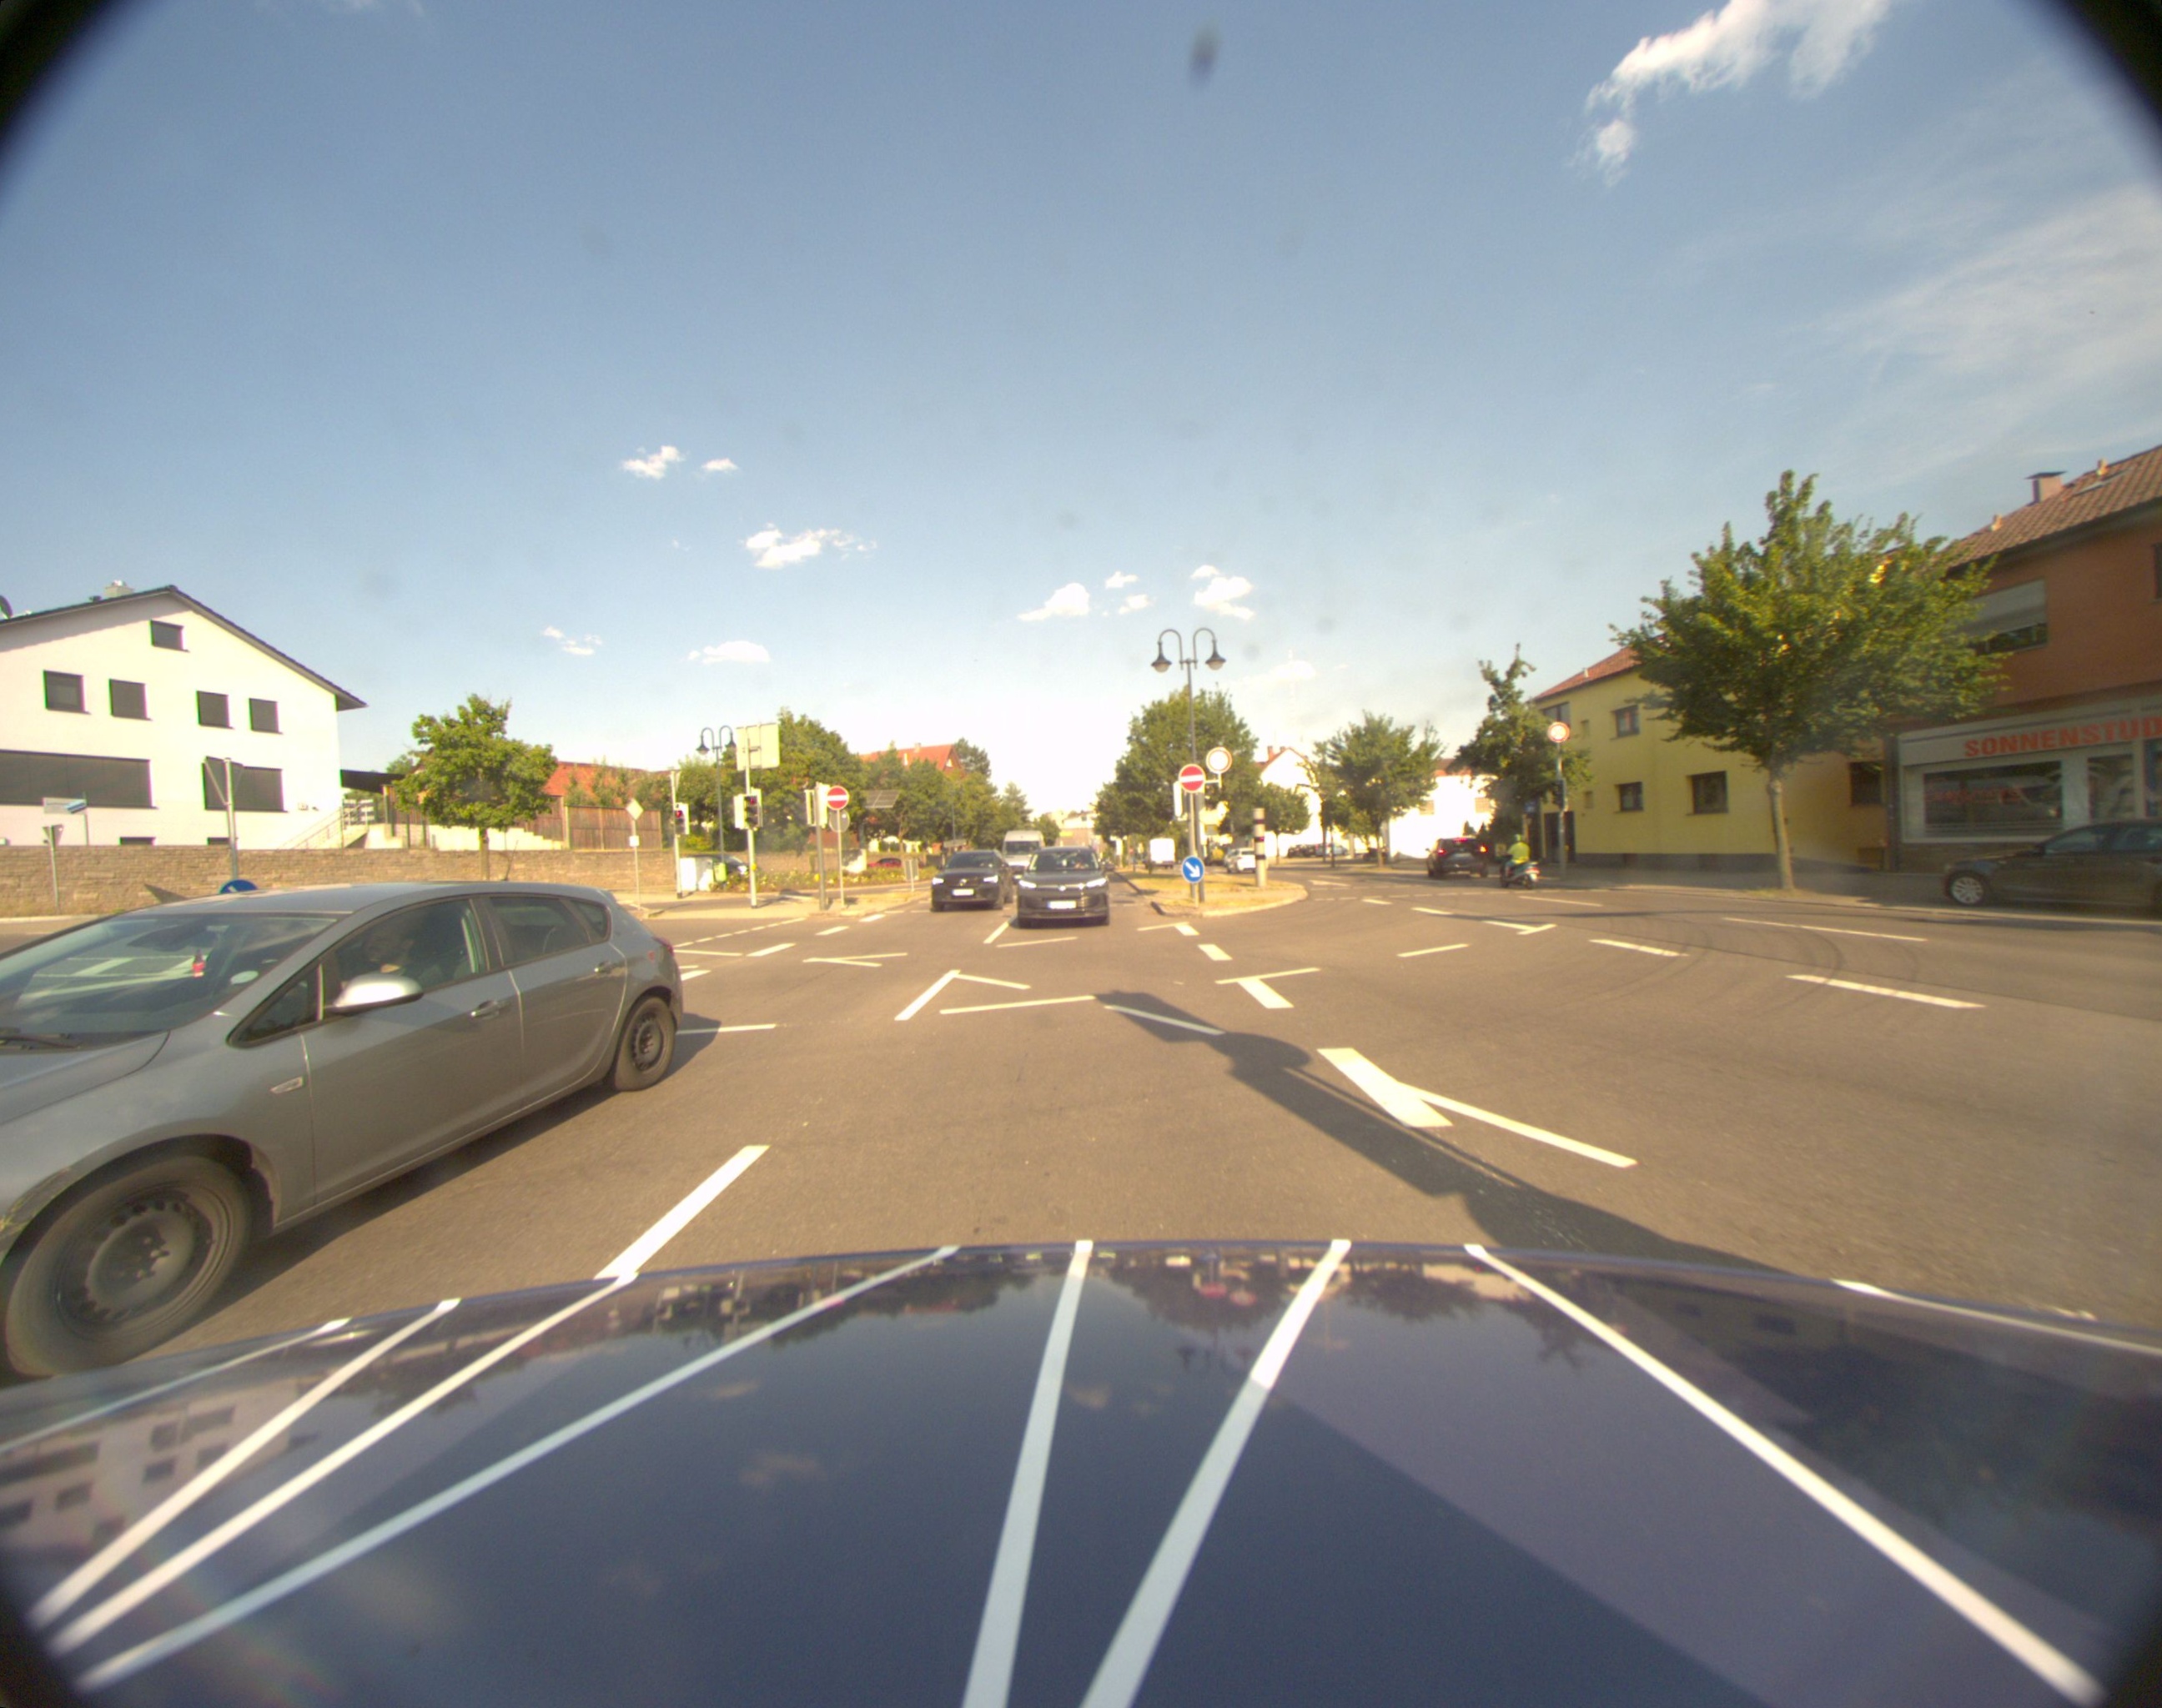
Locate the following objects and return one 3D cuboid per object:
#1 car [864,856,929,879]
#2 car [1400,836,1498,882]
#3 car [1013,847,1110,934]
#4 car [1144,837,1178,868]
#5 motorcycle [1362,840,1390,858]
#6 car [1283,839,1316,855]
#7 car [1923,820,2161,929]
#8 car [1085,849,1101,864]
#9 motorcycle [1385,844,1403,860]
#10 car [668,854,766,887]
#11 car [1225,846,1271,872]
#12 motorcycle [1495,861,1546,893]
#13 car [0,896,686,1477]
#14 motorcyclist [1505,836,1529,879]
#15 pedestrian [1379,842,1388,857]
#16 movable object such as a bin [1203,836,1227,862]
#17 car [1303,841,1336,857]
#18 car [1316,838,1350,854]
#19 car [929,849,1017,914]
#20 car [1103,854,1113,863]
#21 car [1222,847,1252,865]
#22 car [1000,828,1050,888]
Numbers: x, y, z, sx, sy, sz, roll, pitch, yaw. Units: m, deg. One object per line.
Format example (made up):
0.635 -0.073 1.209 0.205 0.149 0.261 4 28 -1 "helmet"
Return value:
-12.831 0.953 52.998 3.994 1.422 1.749 -2 0 9 "car"
14.332 0.174 29.884 1.859 1.586 4.461 -2 0 3 "car"
-0.341 0.682 16.408 1.768 1.582 4.056 -2 0 1 "car"
6.806 -0.152 65.231 2.090 2.461 5.478 -2 0 -2 "car"
22.482 -0.366 58.005 0.489 1.315 2.114 -2 0 -30 "motorcycle"
23.474 -0.747 81.469 3.417 1.616 1.857 -1 1 -41 "car"
15.748 0.250 11.412 1.800 1.406 3.941 -4 1 1 "car"
1.536 0.326 98.678 1.816 1.861 4.001 -2 0 4 "car"
22.123 -0.157 53.714 0.549 1.093 2.052 -2 0 40 "motorcycle"
-17.617 0.791 36.847 4.072 1.448 1.680 -2 1 13 "car"
9.515 0.275 43.642 1.761 1.403 4.000 -2 0 0 "car"
12.571 0.640 21.800 0.413 0.855 1.763 -2 0 -1 "motorcycle"
-3.772 1.022 3.434 1.651 1.414 4.144 0 0 2 "car"
12.552 0.093 21.876 0.404 1.222 0.461 -2 1 -1 "motorcyclist"
27.694 -0.421 69.574 0.596 1.332 0.584 -2 1 -7 "pedestrian"
13.040 -0.498 74.117 1.556 2.447 4.978 -1 1 2 "movable object such as a bin"
24.996 -0.567 79.535 3.438 1.555 1.583 -2 1 -38 "car"
25.401 -0.783 76.467 3.438 1.534 1.617 -2 0 -38 "car"
-2.911 0.698 21.350 1.792 1.596 4.056 -2 0 1 "car"
5.107 0.861 143.442 1.781 1.516 3.840 -2 0 5 "car"
12.867 0.145 62.939 1.695 1.406 4.214 -2 0 2 "car"
-2.675 0.143 37.805 2.040 2.643 6.647 -1 1 -1 "car"
